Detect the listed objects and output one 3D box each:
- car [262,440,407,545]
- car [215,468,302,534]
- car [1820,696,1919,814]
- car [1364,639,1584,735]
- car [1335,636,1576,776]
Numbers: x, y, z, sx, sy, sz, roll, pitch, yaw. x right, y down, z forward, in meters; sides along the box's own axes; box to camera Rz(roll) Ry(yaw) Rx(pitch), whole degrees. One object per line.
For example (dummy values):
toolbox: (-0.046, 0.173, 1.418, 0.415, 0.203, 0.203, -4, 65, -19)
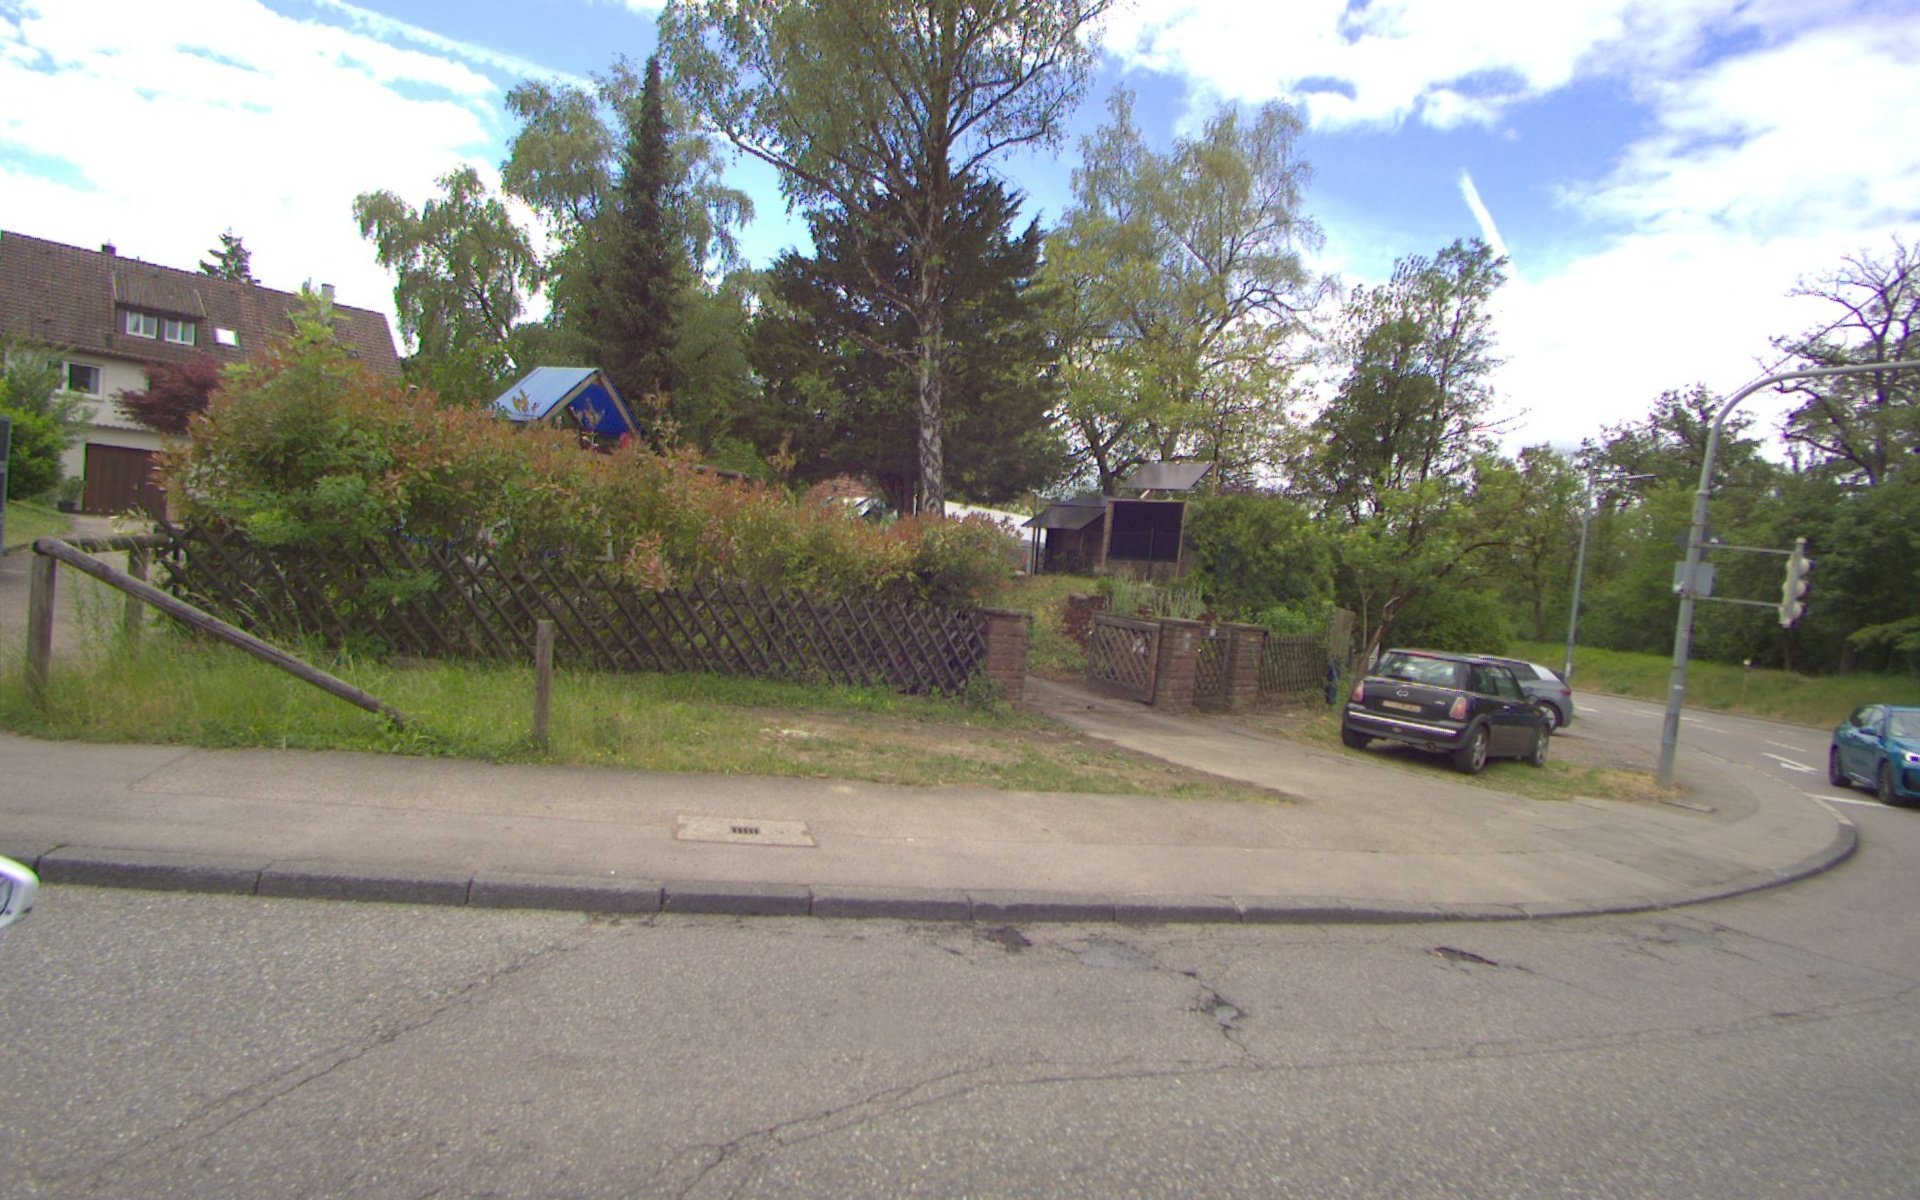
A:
car: (-14.143, -2.390, 22.645, 1.984, 2.042, 4.231, 0, 5, -43)
car: (-20.670, -2.850, 29.608, 1.587, 1.529, 3.561, 0, -1, -43)
car: (16.364, 2.612, 16.955, 1.883, 1.597, 3.992, 4, 0, 28)
car: (11.320, 1.888, 22.407, 3.923, 1.543, 1.663, 7, -1, 11)
car: (6.736, 1.394, 13.521, 3.581, 1.409, 1.635, 6, 3, -44)
